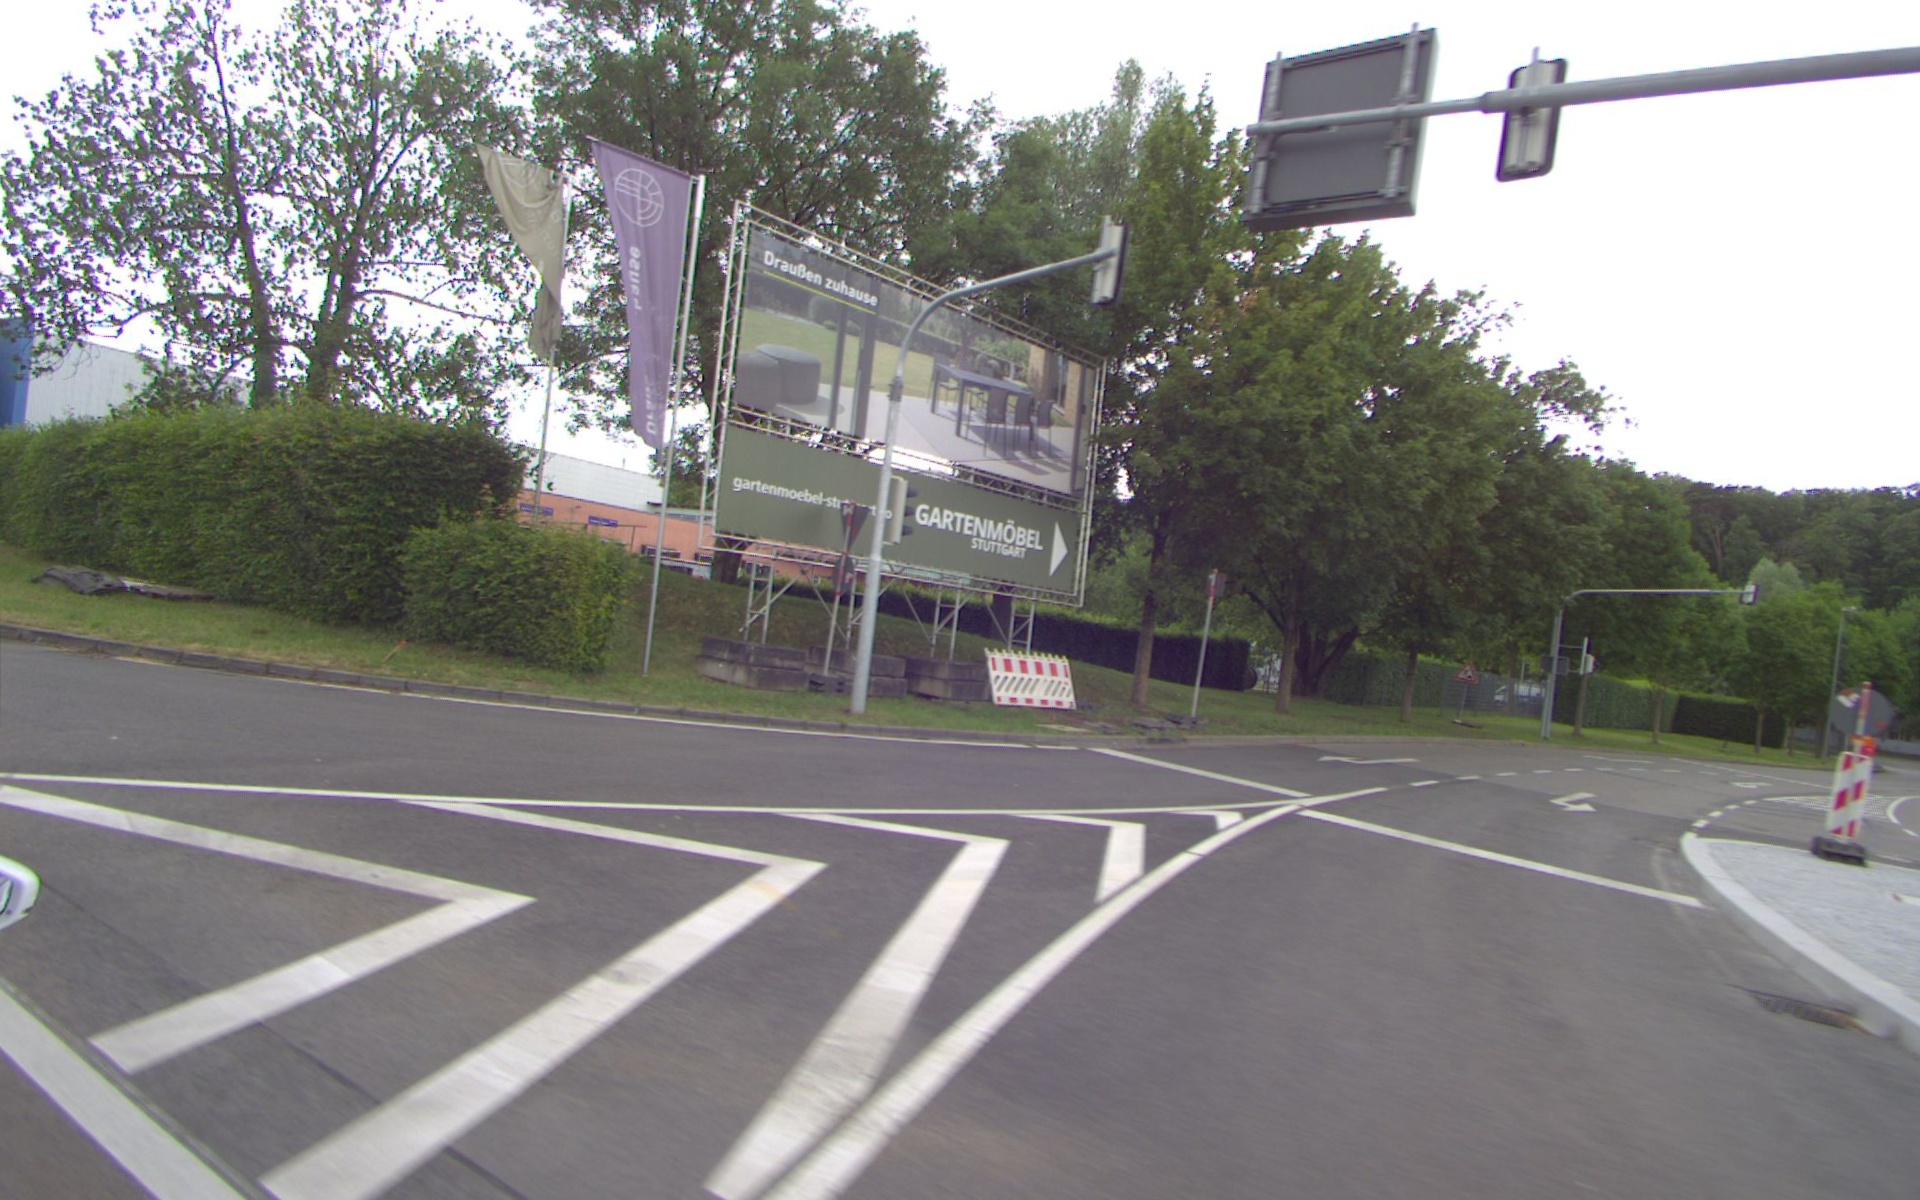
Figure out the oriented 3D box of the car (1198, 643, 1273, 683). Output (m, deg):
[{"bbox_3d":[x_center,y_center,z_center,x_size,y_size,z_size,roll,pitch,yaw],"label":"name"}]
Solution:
[{"bbox_3d":[19.520,4.452,71.396,4.462,2.141,2.128,7,-3,39],"label":"car"}]
